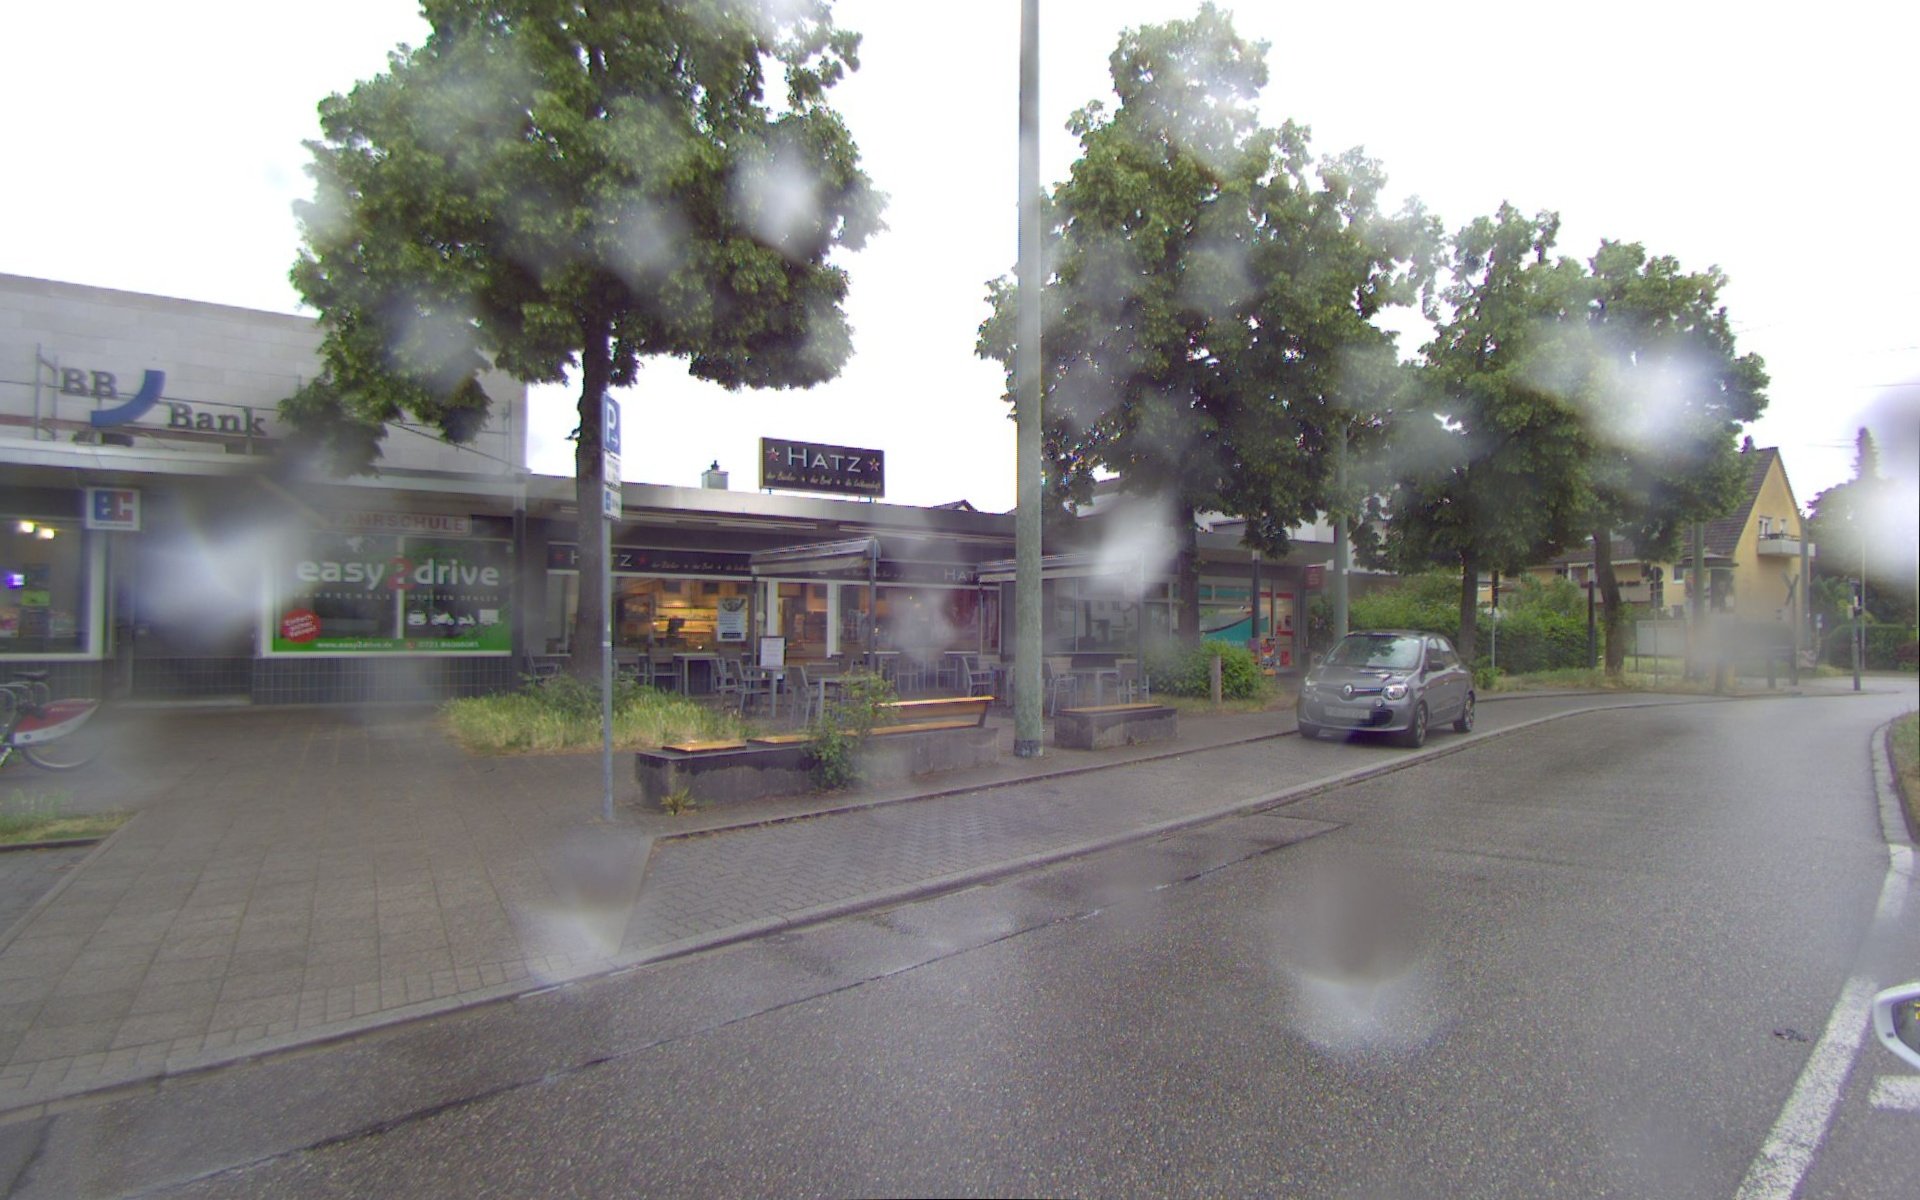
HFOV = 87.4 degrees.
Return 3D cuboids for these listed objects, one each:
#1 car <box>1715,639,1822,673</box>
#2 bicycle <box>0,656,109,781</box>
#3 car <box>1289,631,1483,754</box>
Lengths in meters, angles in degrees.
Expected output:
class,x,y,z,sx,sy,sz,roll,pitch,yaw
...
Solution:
class,x,y,z,sx,sy,sz,roll,pitch,yaw
car,41.951,2.879,52.188,1.815,1.476,3.960,2,0,-35
bicycle,-9.005,1.098,9.253,0.314,1.122,1.739,2,0,43
car,6.374,1.251,14.823,1.598,1.516,3.649,2,0,40
